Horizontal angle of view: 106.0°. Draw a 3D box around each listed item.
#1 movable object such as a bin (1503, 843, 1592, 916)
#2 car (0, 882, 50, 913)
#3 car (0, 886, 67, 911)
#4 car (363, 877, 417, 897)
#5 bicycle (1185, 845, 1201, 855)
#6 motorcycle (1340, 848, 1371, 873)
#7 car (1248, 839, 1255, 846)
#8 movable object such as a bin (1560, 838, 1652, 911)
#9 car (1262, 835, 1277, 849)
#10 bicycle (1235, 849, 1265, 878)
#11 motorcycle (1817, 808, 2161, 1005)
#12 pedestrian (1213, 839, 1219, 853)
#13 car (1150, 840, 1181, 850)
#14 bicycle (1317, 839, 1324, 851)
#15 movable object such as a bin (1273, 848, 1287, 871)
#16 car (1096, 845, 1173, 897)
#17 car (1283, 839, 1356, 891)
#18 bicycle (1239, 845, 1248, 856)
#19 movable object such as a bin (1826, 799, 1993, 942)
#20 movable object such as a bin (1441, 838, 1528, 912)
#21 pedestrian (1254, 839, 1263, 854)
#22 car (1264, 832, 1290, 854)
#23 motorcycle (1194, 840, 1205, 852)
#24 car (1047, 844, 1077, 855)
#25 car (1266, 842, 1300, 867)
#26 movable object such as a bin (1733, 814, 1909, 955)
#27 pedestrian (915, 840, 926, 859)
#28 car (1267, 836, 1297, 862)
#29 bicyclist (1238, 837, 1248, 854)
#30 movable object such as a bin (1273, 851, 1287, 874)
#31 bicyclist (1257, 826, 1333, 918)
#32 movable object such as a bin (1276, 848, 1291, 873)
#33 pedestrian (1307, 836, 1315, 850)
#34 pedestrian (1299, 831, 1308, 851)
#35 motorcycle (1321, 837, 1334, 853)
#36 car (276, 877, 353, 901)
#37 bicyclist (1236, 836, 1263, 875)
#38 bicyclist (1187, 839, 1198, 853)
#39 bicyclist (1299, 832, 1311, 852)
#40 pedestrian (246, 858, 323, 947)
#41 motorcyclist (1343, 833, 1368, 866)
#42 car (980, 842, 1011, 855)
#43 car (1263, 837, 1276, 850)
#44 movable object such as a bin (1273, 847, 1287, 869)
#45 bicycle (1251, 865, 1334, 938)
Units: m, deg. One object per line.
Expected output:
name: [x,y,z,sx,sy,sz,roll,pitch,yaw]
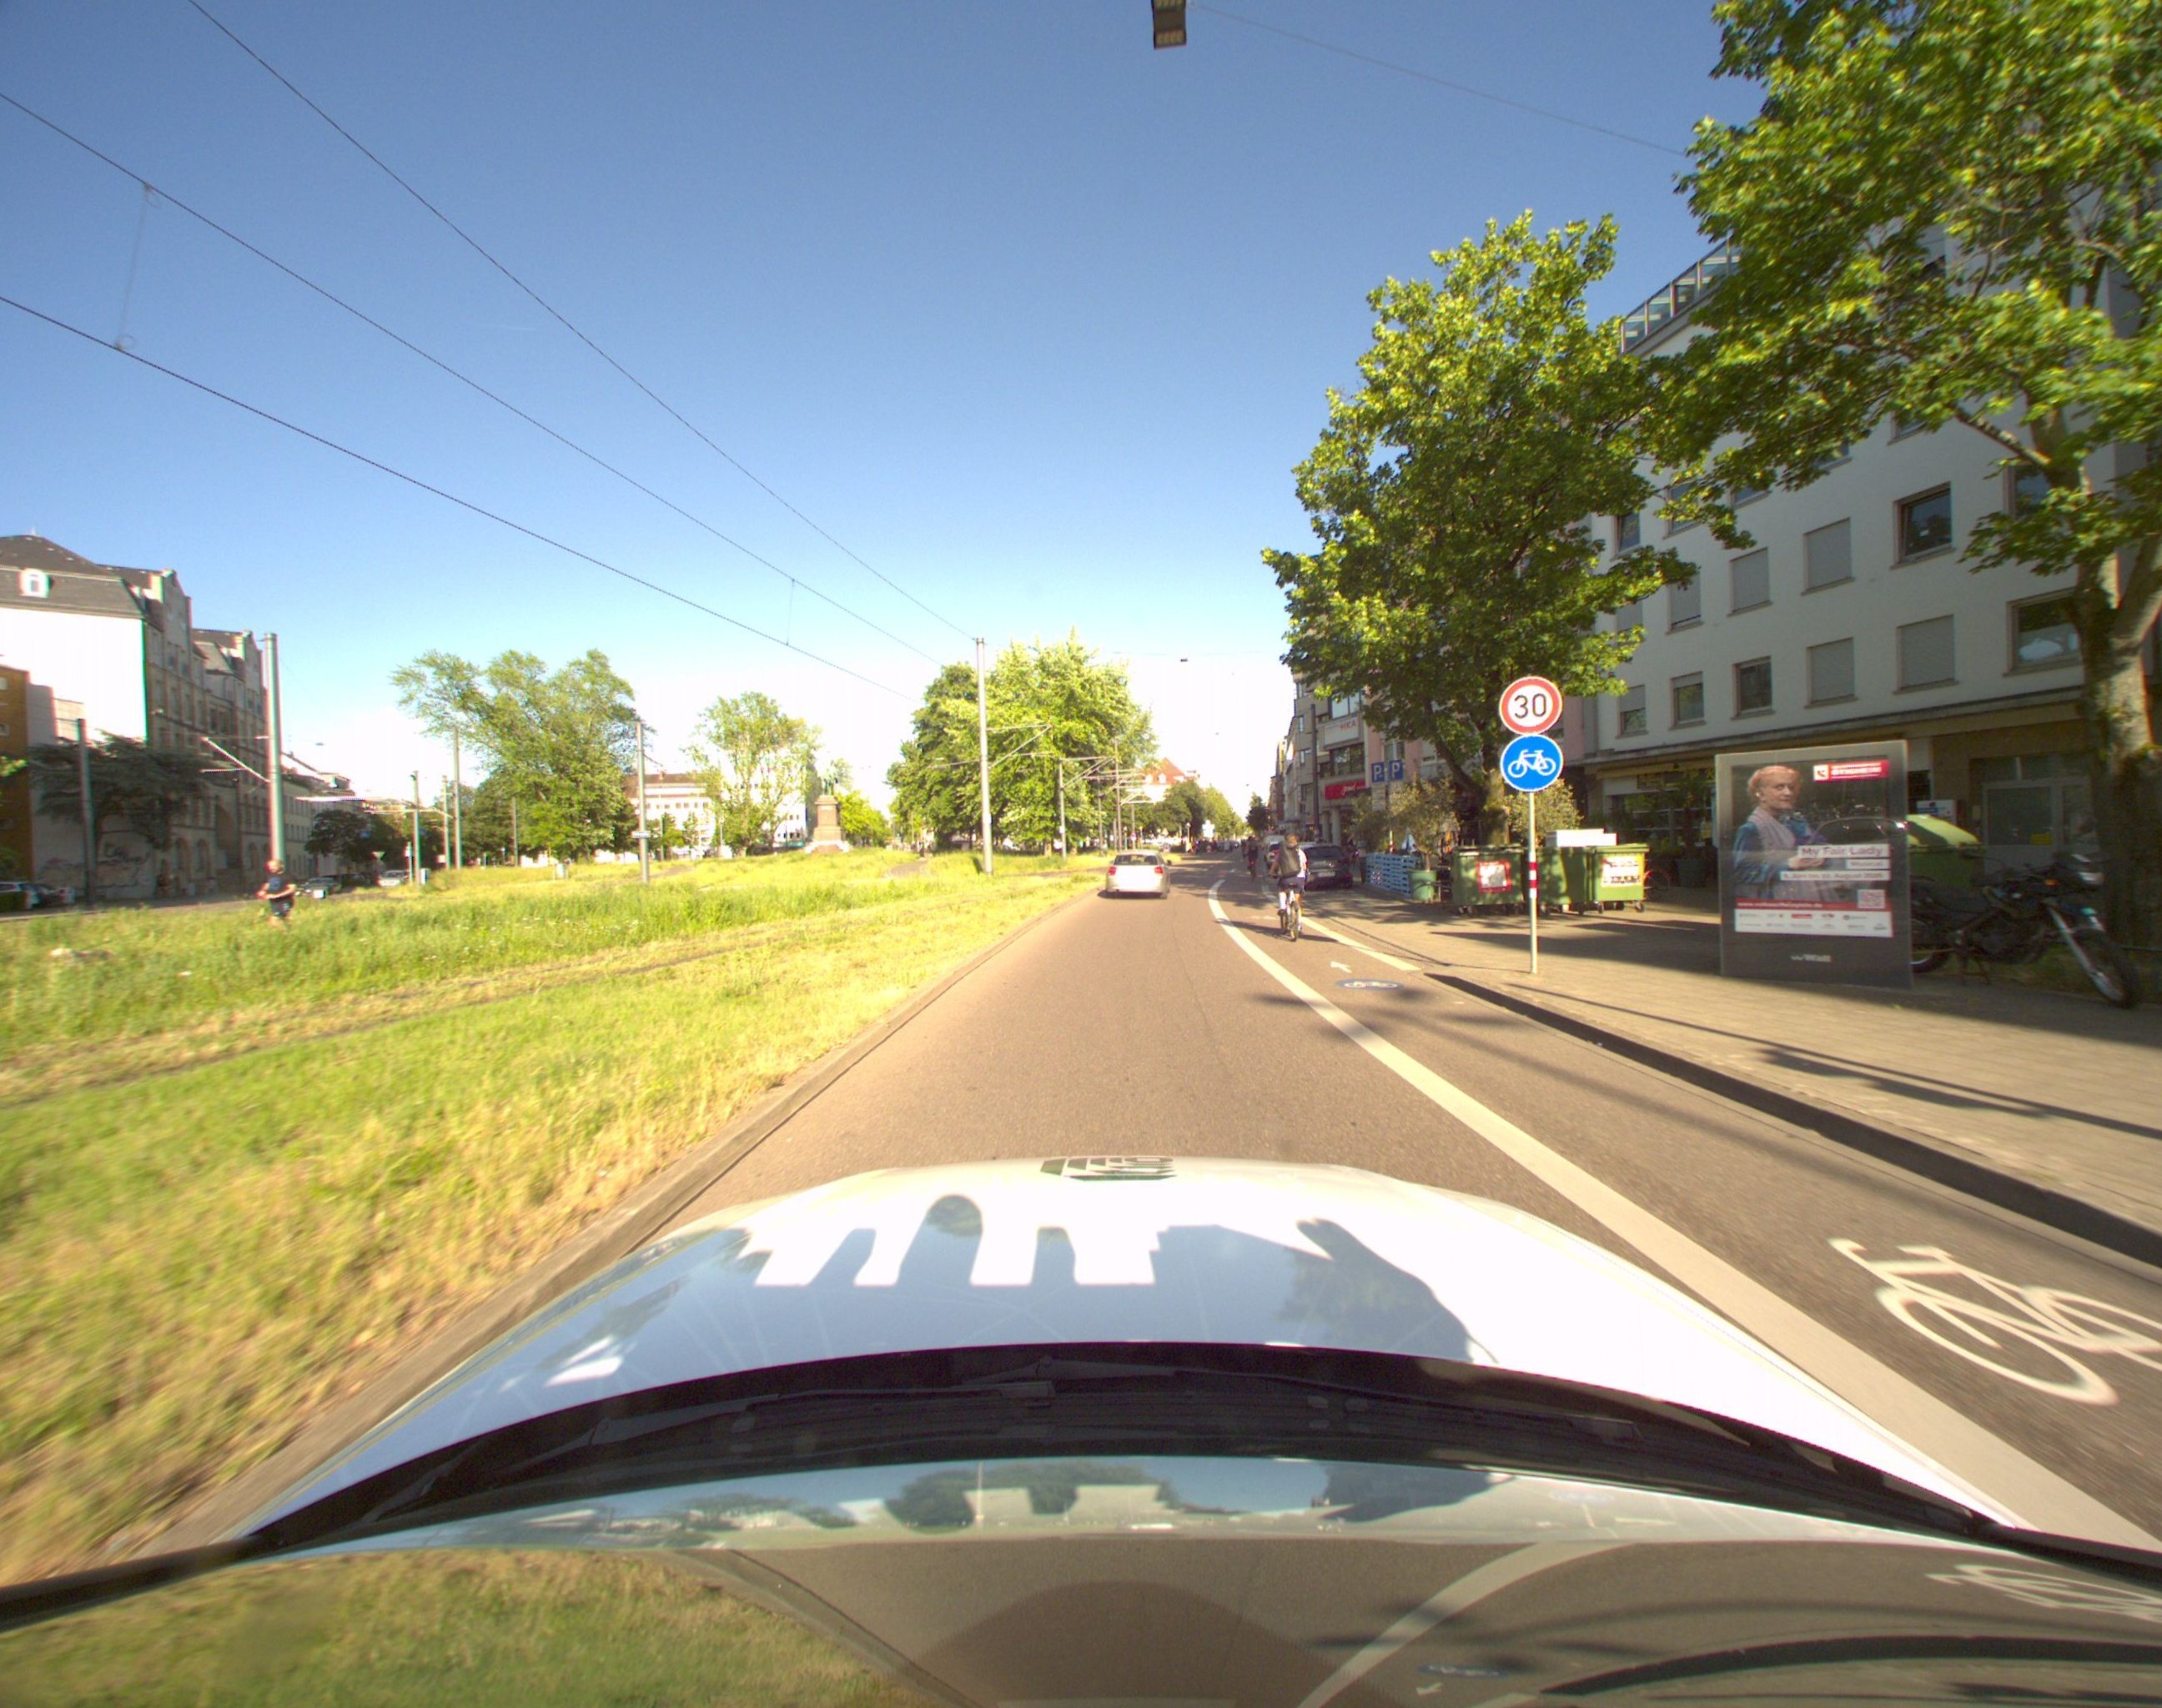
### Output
movable object such as a bin: [9.027,0.473,15.788,1.172,1.356,0.924,0,0,-11]
car: [-59.858,2.423,44.547,4.021,1.581,1.976,0,0,-42]
car: [-61.439,2.557,46.568,4.021,1.341,1.976,0,0,-42]
car: [-58.136,2.772,68.571,2.001,1.354,4.734,-1,1,-21]
bicycle: [11.979,-0.446,87.460,0.811,1.069,2.570,0,0,-15]
motorcycle: [13.040,0.307,38.742,0.772,1.126,2.299,0,0,3]
car: [43.782,-2.916,209.051,1.857,1.555,4.014,0,0,13]
movable object such as a bin: [10.388,0.385,16.142,1.213,1.390,0.956,0,0,-11]
car: [27.965,-1.838,121.118,1.981,2.004,5.133,-2,1,11]
bicycle: [7.016,0.388,33.895,0.817,1.185,1.963,0,0,-1]
motorcycle: [8.552,0.391,7.670,0.801,1.539,2.540,-1,1,-5]
pedestrian: [16.568,-1.007,100.147,0.631,1.672,0.695,-1,0,13]
car: [15.962,-1.760,153.794,5.272,1.800,2.153,0,0,-15]
bicycle: [21.735,-0.832,73.892,0.559,1.034,1.650,0,0,13]
movable object such as a bin: [9.388,0.264,38.485,0.602,1.069,0.615,0,0,8]
car: [1.719,0.476,24.673,1.982,1.423,4.206,0,0,8]
car: [7.719,0.296,26.733,1.754,1.438,4.597,-3,1,10]
bicycle: [13.431,-0.287,67.394,0.648,0.958,2.706,0,0,11]
movable object such as a bin: [10.593,0.195,10.442,1.257,1.709,0.941,-2,0,-13]
movable object such as a bin: [7.802,0.402,15.809,1.274,1.391,0.923,0,0,6]
pedestrian: [21.040,-0.873,96.620,0.670,1.699,0.800,0,0,-19]
car: [16.457,-0.873,68.514,1.980,1.813,4.324,0,0,12]
motorcycle: [13.599,-0.886,93.480,0.746,1.374,1.754,0,0,-11]
car: [-3.600,-0.869,154.204,5.584,2.013,1.809,0,0,-15]
car: [11.672,0.031,46.945,1.838,1.344,4.618,0,0,15]
movable object such as a bin: [9.259,0.349,10.227,1.382,1.639,1.004,-1,0,-13]
pedestrian: [-13.620,-0.393,69.109,0.678,1.615,0.549,0,-1,-40]
car: [13.717,-0.328,55.809,1.839,1.689,3.880,0,0,12]
bicyclist: [13.394,-0.690,67.257,0.781,1.453,1.099,0,0,11]
movable object such as a bin: [9.272,0.405,37.905,0.587,1.069,0.497,0,0,9]
bicyclist: [3.578,0.292,13.724,1.034,1.484,0.988,0,0,1]
movable object such as a bin: [9.101,0.290,36.614,0.570,1.082,0.572,0,0,9]
pedestrian: [21.448,-1.026,75.960,0.625,1.236,0.627,-4,-1,15]
pedestrian: [20.791,-1.235,76.187,0.666,1.856,0.613,-4,-1,15]
motorcycle: [19.064,-0.704,62.958,0.757,1.155,2.058,-4,-2,22]
car: [-50.868,2.345,54.154,1.998,1.513,4.258,-1,-3,-16]
bicyclist: [7.025,0.065,34.005,0.936,1.633,0.935,0,0,-1]
bicyclist: [11.982,-0.885,87.423,0.930,1.507,0.821,0,0,-15]
bicyclist: [15.031,-0.795,54.764,0.752,1.326,0.998,0,0,14]
pedestrian: [-15.591,0.931,15.950,0.728,1.671,0.747,-1,1,13]
motorcyclist: [13.044,-0.201,38.714,0.894,1.551,0.807,0,0,3]
car: [-15.434,-0.962,146.382,5.338,2.314,1.992,0,0,-11]
car: [25.674,-1.427,110.946,1.733,1.738,4.977,0,0,12]
movable object such as a bin: [9.840,0.218,40.283,0.589,1.083,0.606,0,0,9]
bicycle: [3.578,0.768,14.021,0.882,1.136,2.229,0,0,1]
